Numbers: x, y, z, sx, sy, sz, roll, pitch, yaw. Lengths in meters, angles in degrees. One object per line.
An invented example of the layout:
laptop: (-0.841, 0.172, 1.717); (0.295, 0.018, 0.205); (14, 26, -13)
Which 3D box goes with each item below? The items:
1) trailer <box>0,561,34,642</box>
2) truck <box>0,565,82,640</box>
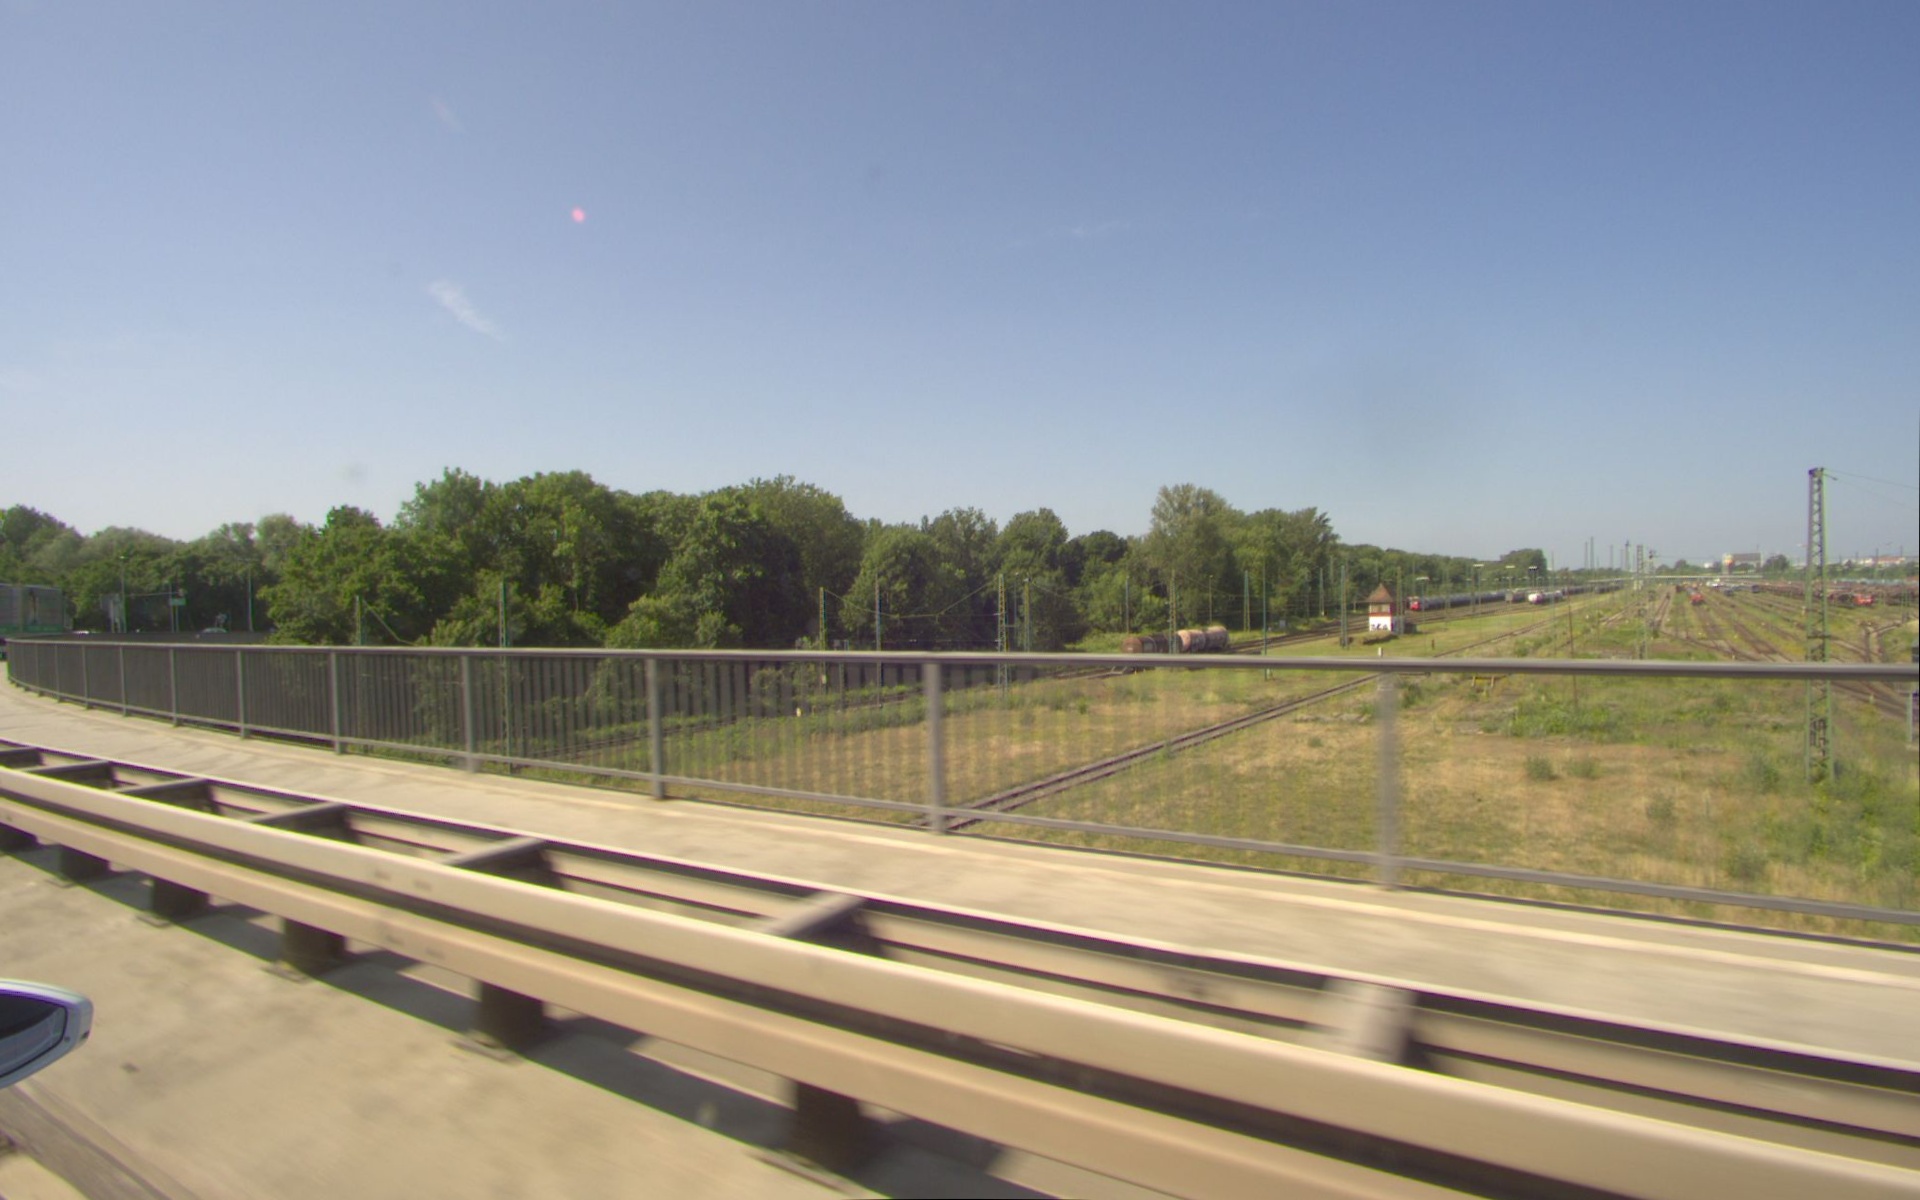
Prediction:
trailer: (-47.028, 0.032, 47.158); (3.189, 3.806, 7.785); (3, -2, -30)
truck: (-51.291, 0.156, 54.709); (3.225, 3.806, 8.328); (3, -2, -30)
